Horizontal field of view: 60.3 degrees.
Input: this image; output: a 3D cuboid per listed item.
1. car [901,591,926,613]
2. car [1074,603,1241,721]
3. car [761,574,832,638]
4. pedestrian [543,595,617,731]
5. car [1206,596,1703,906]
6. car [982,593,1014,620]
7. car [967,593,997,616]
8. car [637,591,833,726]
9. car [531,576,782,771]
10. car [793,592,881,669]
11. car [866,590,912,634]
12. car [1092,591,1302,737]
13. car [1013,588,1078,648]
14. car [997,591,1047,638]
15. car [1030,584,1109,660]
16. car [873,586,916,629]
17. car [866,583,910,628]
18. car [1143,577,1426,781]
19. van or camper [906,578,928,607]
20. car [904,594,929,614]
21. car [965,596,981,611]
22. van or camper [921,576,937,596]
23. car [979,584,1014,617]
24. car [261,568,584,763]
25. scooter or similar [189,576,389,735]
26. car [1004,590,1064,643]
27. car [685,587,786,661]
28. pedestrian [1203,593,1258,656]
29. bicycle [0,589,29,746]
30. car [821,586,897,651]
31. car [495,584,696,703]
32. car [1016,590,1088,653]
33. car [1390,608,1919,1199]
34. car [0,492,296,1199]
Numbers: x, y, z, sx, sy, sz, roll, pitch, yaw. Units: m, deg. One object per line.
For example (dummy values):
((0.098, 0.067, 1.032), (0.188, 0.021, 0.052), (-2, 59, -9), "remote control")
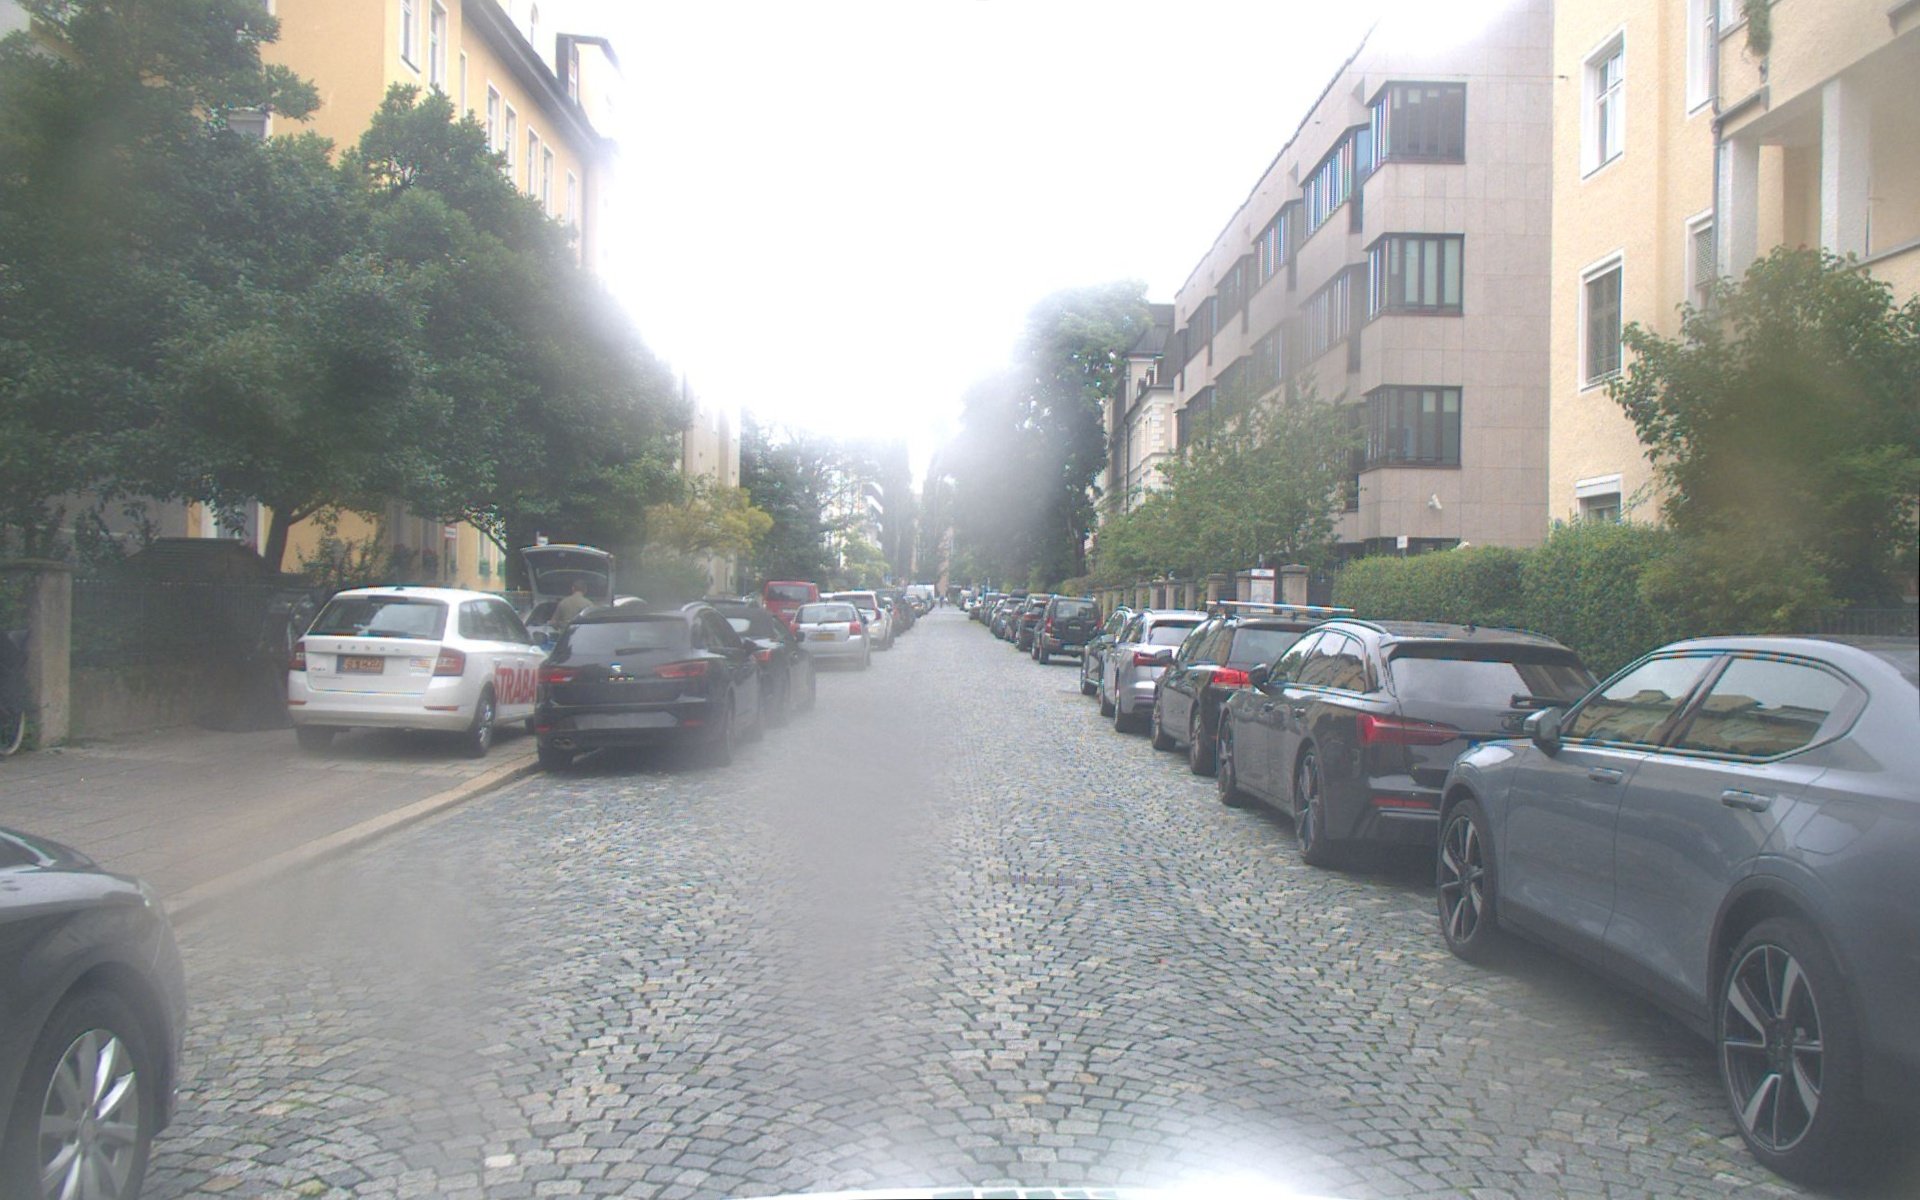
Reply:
((-3.588, 0.156, 126.405), (1.836, 1.607, 4.253), (-2, 0, -3), "car")
((3.052, 0.908, 26.598), (1.953, 1.579, 5.014), (3, 0, -1), "car")
((-5.474, 0.178, 55.905), (1.954, 1.964, 5.329), (2, 0, -2), "car")
((-4.796, 0.784, 20.916), (0.750, 1.679, 0.582), (2, 0, 1), "pedestrian")
((2.984, 0.795, 11.233), (1.782, 1.514, 5.049), (4, 0, 0), "car")
((2.308, 0.379, 100.529), (1.799, 1.516, 4.421), (4, 0, 0), "car")
((1.535, 0.298, 118.223), (1.836, 1.529, 4.509), (4, 0, -3), "car")
((-2.742, 0.667, 21.246), (1.777, 1.480, 4.913), (-2, 0, 0), "car")
((-2.811, 0.618, 16.252), (1.704, 1.631, 4.536), (0, 0, -1), "car")
((-2.686, 0.643, 36.974), (1.679, 1.589, 4.389), (-1, 0, -1), "car")
((-3.016, 0.469, 69.810), (1.828, 1.765, 4.401), (-2, 0, -3), "car")
((2.904, 0.722, 21.361), (1.953, 1.579, 4.986), (3, 0, 0), "car")
((2.887, 0.576, 56.692), (1.753, 1.827, 4.508), (5, 0, -2), "car")
((2.510, 0.570, 67.795), (1.835, 1.765, 4.892), (3, 0, 1), "car")
((2.782, 0.539, 42.773), (1.586, 1.781, 3.886), (4, 0, -2), "car")
((-3.199, 0.335, 81.357), (1.953, 1.950, 5.176), (-3, 0, -1), "car")
((-3.219, 0.235, 74.949), (1.835, 1.950, 4.826), (-1, 0, -1), "car")
((3.047, 0.682, 16.438), (1.855, 1.682, 4.293), (2, 0, -1), "car")
((-4.128, -0.691, 158.936), (1.953, 2.698, 4.000), (-2, 0, 0), "van or camper")
((-3.771, 0.355, 143.993), (1.834, 1.607, 4.209), (3, 0, 3), "car")
((1.393, 0.364, 179.914), (1.753, 1.547, 4.000), (1, 0, 0), "car")
((-4.532, -2.033, 243.565), (2.210, 2.790, 5.097), (2, 0, 0), "van or camper")
((2.308, 0.017, 106.241), (1.836, 1.962, 5.161), (3, 0, -3), "car")
((-5.013, 0.552, 16.104), (1.704, 1.563, 4.466), (2, 0, -1), "car")
((-7.041, 0.538, 17.545), (1.040, 1.550, 2.634), (1, 0, 0), "scooter or similar")
((2.766, 0.599, 62.712), (1.836, 1.765, 4.657), (5, 0, -1), "car")
((-5.141, 0.518, 38.418), (1.680, 1.523, 4.721), (3, 0, -1), "car")
((6.750, 0.605, 41.366), (1.191, 1.519, 1.129), (-1, 0, 2), "pedestrian")
((-8.146, 0.550, 12.900), (0.593, 1.281, 2.060), (1, 0, 0), "bicycle")
((-3.013, 0.542, 50.338), (1.965, 1.840, 5.174), (-1, 0, 0), "car")
((-4.985, 0.546, 23.263), (1.739, 1.441, 4.561), (2, 0, 0), "car")
((2.794, 0.624, 51.249), (1.823, 1.731, 4.812), (4, 0, -1), "car")
((3.174, 0.855, 6.101), (1.844, 1.514, 4.813), (3, 0, 0), "car")
((-2.678, 0.603, 2.708), (1.705, 1.613, 4.189), (0, 0, -4), "car")
